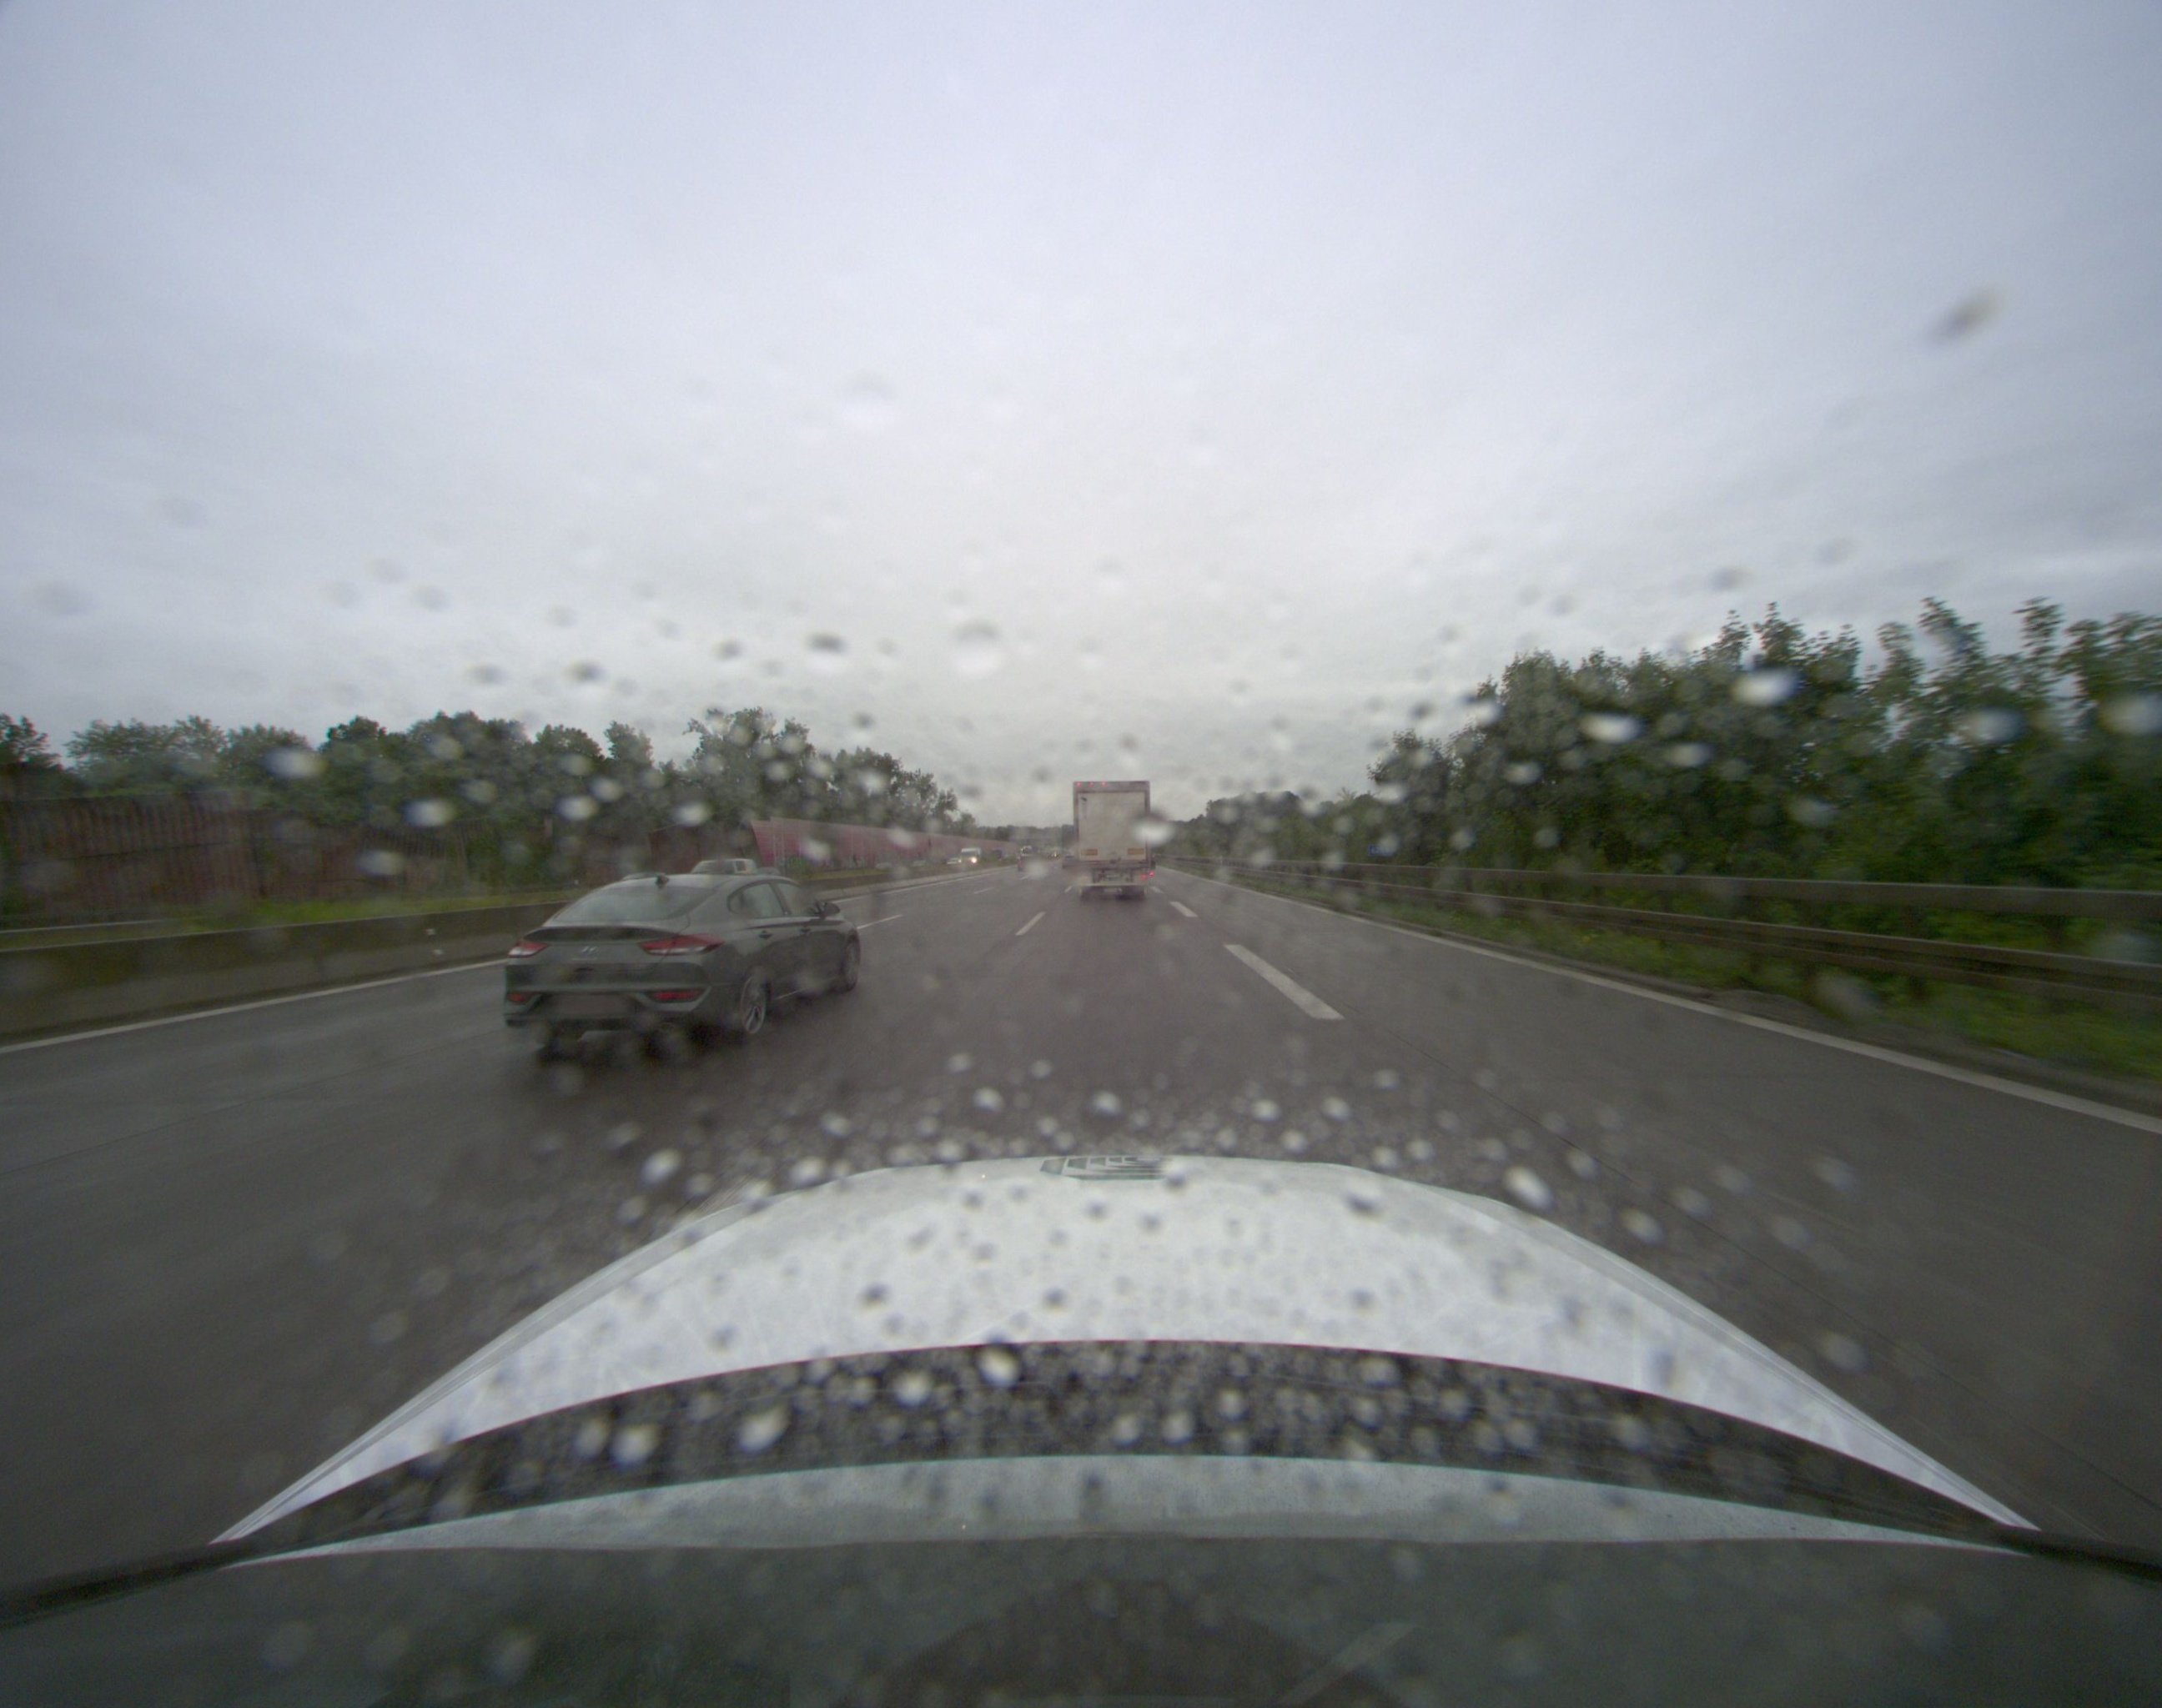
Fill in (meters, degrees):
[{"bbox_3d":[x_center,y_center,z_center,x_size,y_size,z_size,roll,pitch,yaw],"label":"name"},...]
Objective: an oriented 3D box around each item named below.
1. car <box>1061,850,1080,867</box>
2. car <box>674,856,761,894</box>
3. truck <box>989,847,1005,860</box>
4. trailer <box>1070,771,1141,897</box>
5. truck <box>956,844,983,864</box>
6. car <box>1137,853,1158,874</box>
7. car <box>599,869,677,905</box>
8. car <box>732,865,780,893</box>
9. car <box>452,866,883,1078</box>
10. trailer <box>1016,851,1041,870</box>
[{"bbox_3d":[-1.071,0.452,85.305,1.887,1.723,4.002,0,0,2],"label":"car"},{"bbox_3d":[-18.439,1.014,41.617,1.986,1.784,5.211,-1,0,1],"label":"car"},{"bbox_3d":[-21.153,-0.126,204.520,2.703,3.350,10.434,0,0,1],"label":"truck"},{"bbox_3d":[1.044,-0.635,34.409,2.334,4.157,14.832,0,0,2],"label":"trailer"},{"bbox_3d":[-12.898,0.026,94.812,2.136,2.205,5.422,-1,0,2],"label":"truck"},{"bbox_3d":[6.360,0.888,77.776,1.889,1.949,4.003,0,0,3],"label":"car"},{"bbox_3d":[-24.978,1.821,46.117,1.986,1.784,4.291,-1,0,1],"label":"car"},{"bbox_3d":[-25.327,1.947,63.655,1.986,2.013,4.002,-1,0,2],"label":"car"},{"bbox_3d":[-3.506,0.868,8.161,1.719,1.403,4.830,-1,0,2],"label":"car"},{"bbox_3d":[-4.937,0.589,77.127,1.808,1.624,4.570,-1,0,2],"label":"trailer"}]
